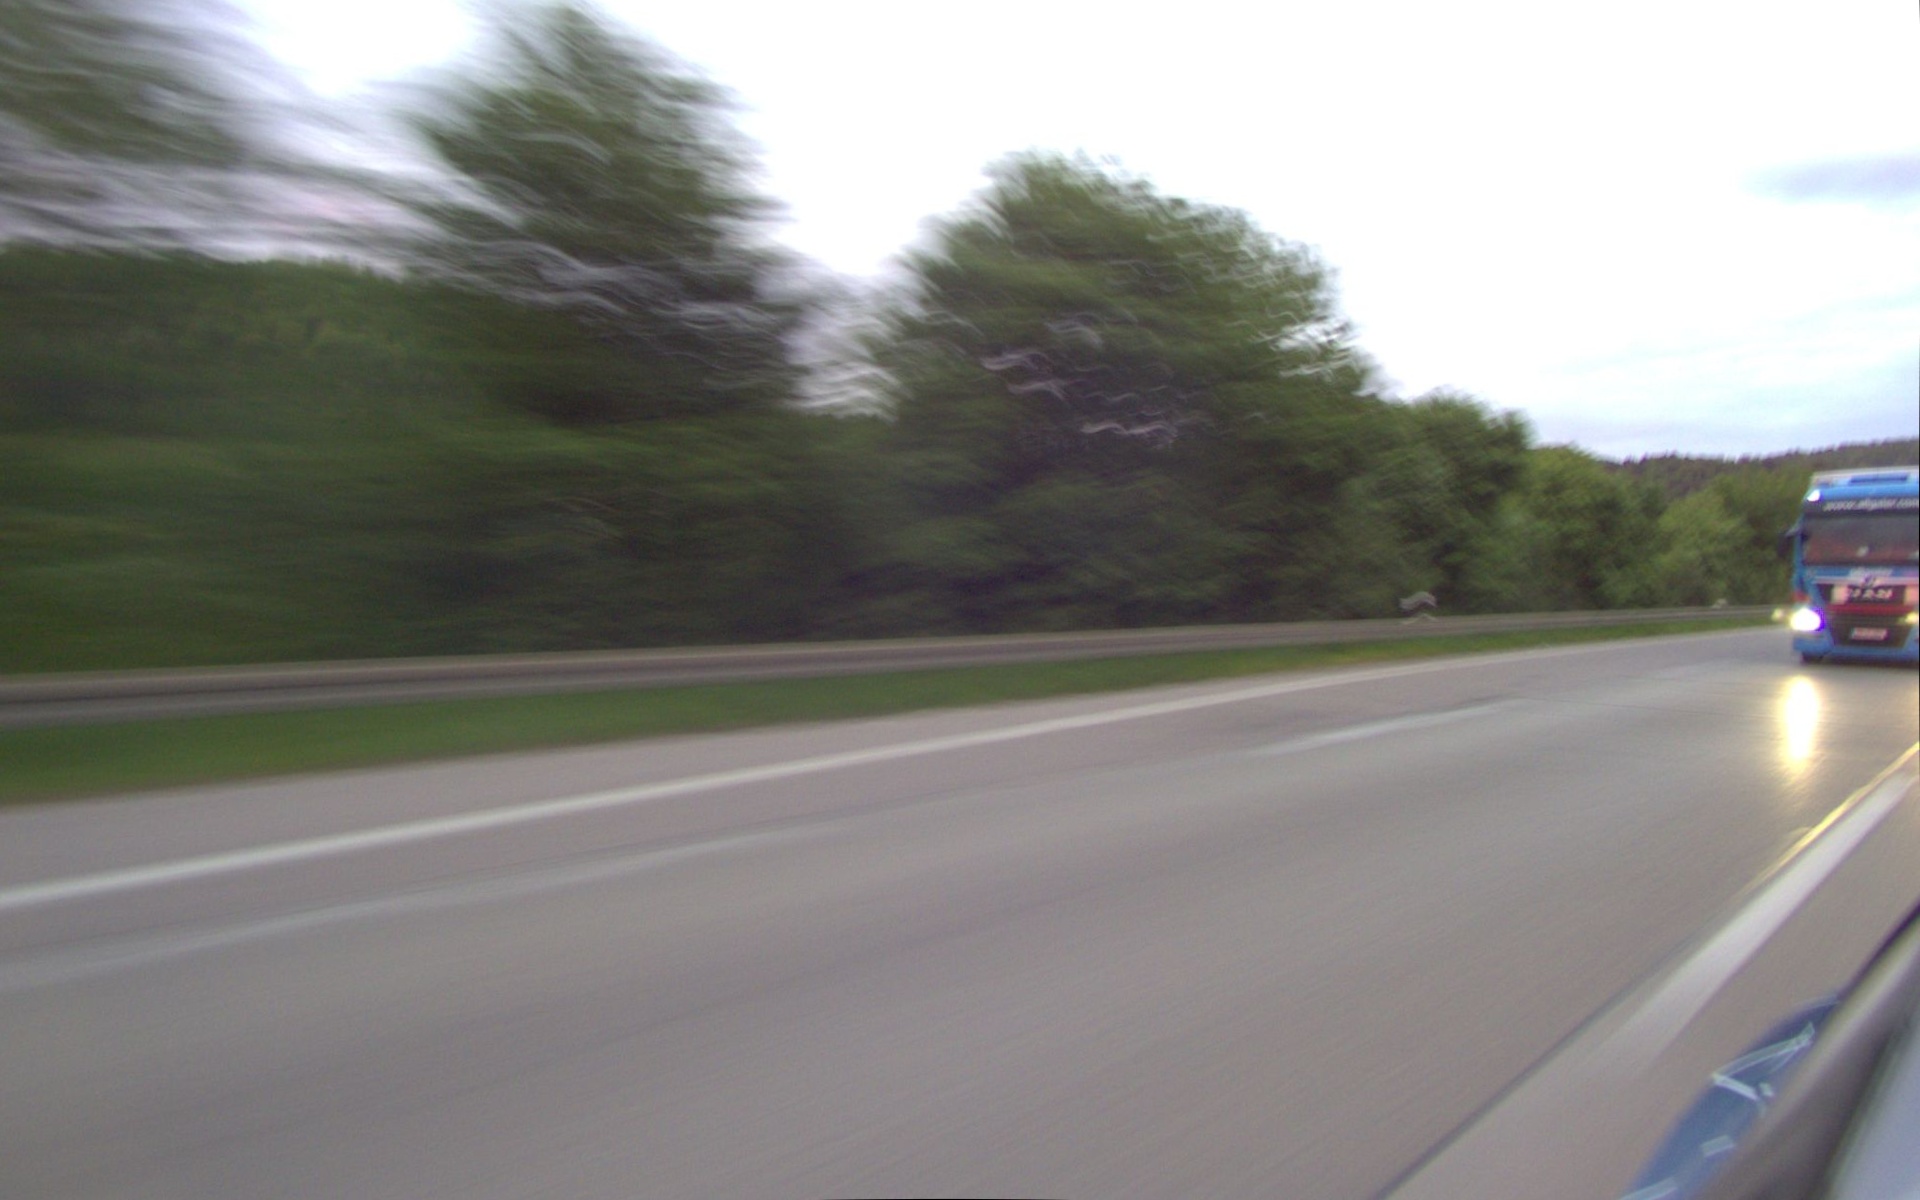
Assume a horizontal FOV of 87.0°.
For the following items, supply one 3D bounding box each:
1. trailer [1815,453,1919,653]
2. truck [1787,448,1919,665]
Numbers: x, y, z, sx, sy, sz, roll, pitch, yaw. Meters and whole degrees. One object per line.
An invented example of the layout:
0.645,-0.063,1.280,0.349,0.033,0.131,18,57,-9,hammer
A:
24.765,-1.034,25.593,13.500,4.137,2.776,-1,1,-41,trailer
19.634,-0.839,21.113,5.747,4.046,2.741,0,1,-41,truck
